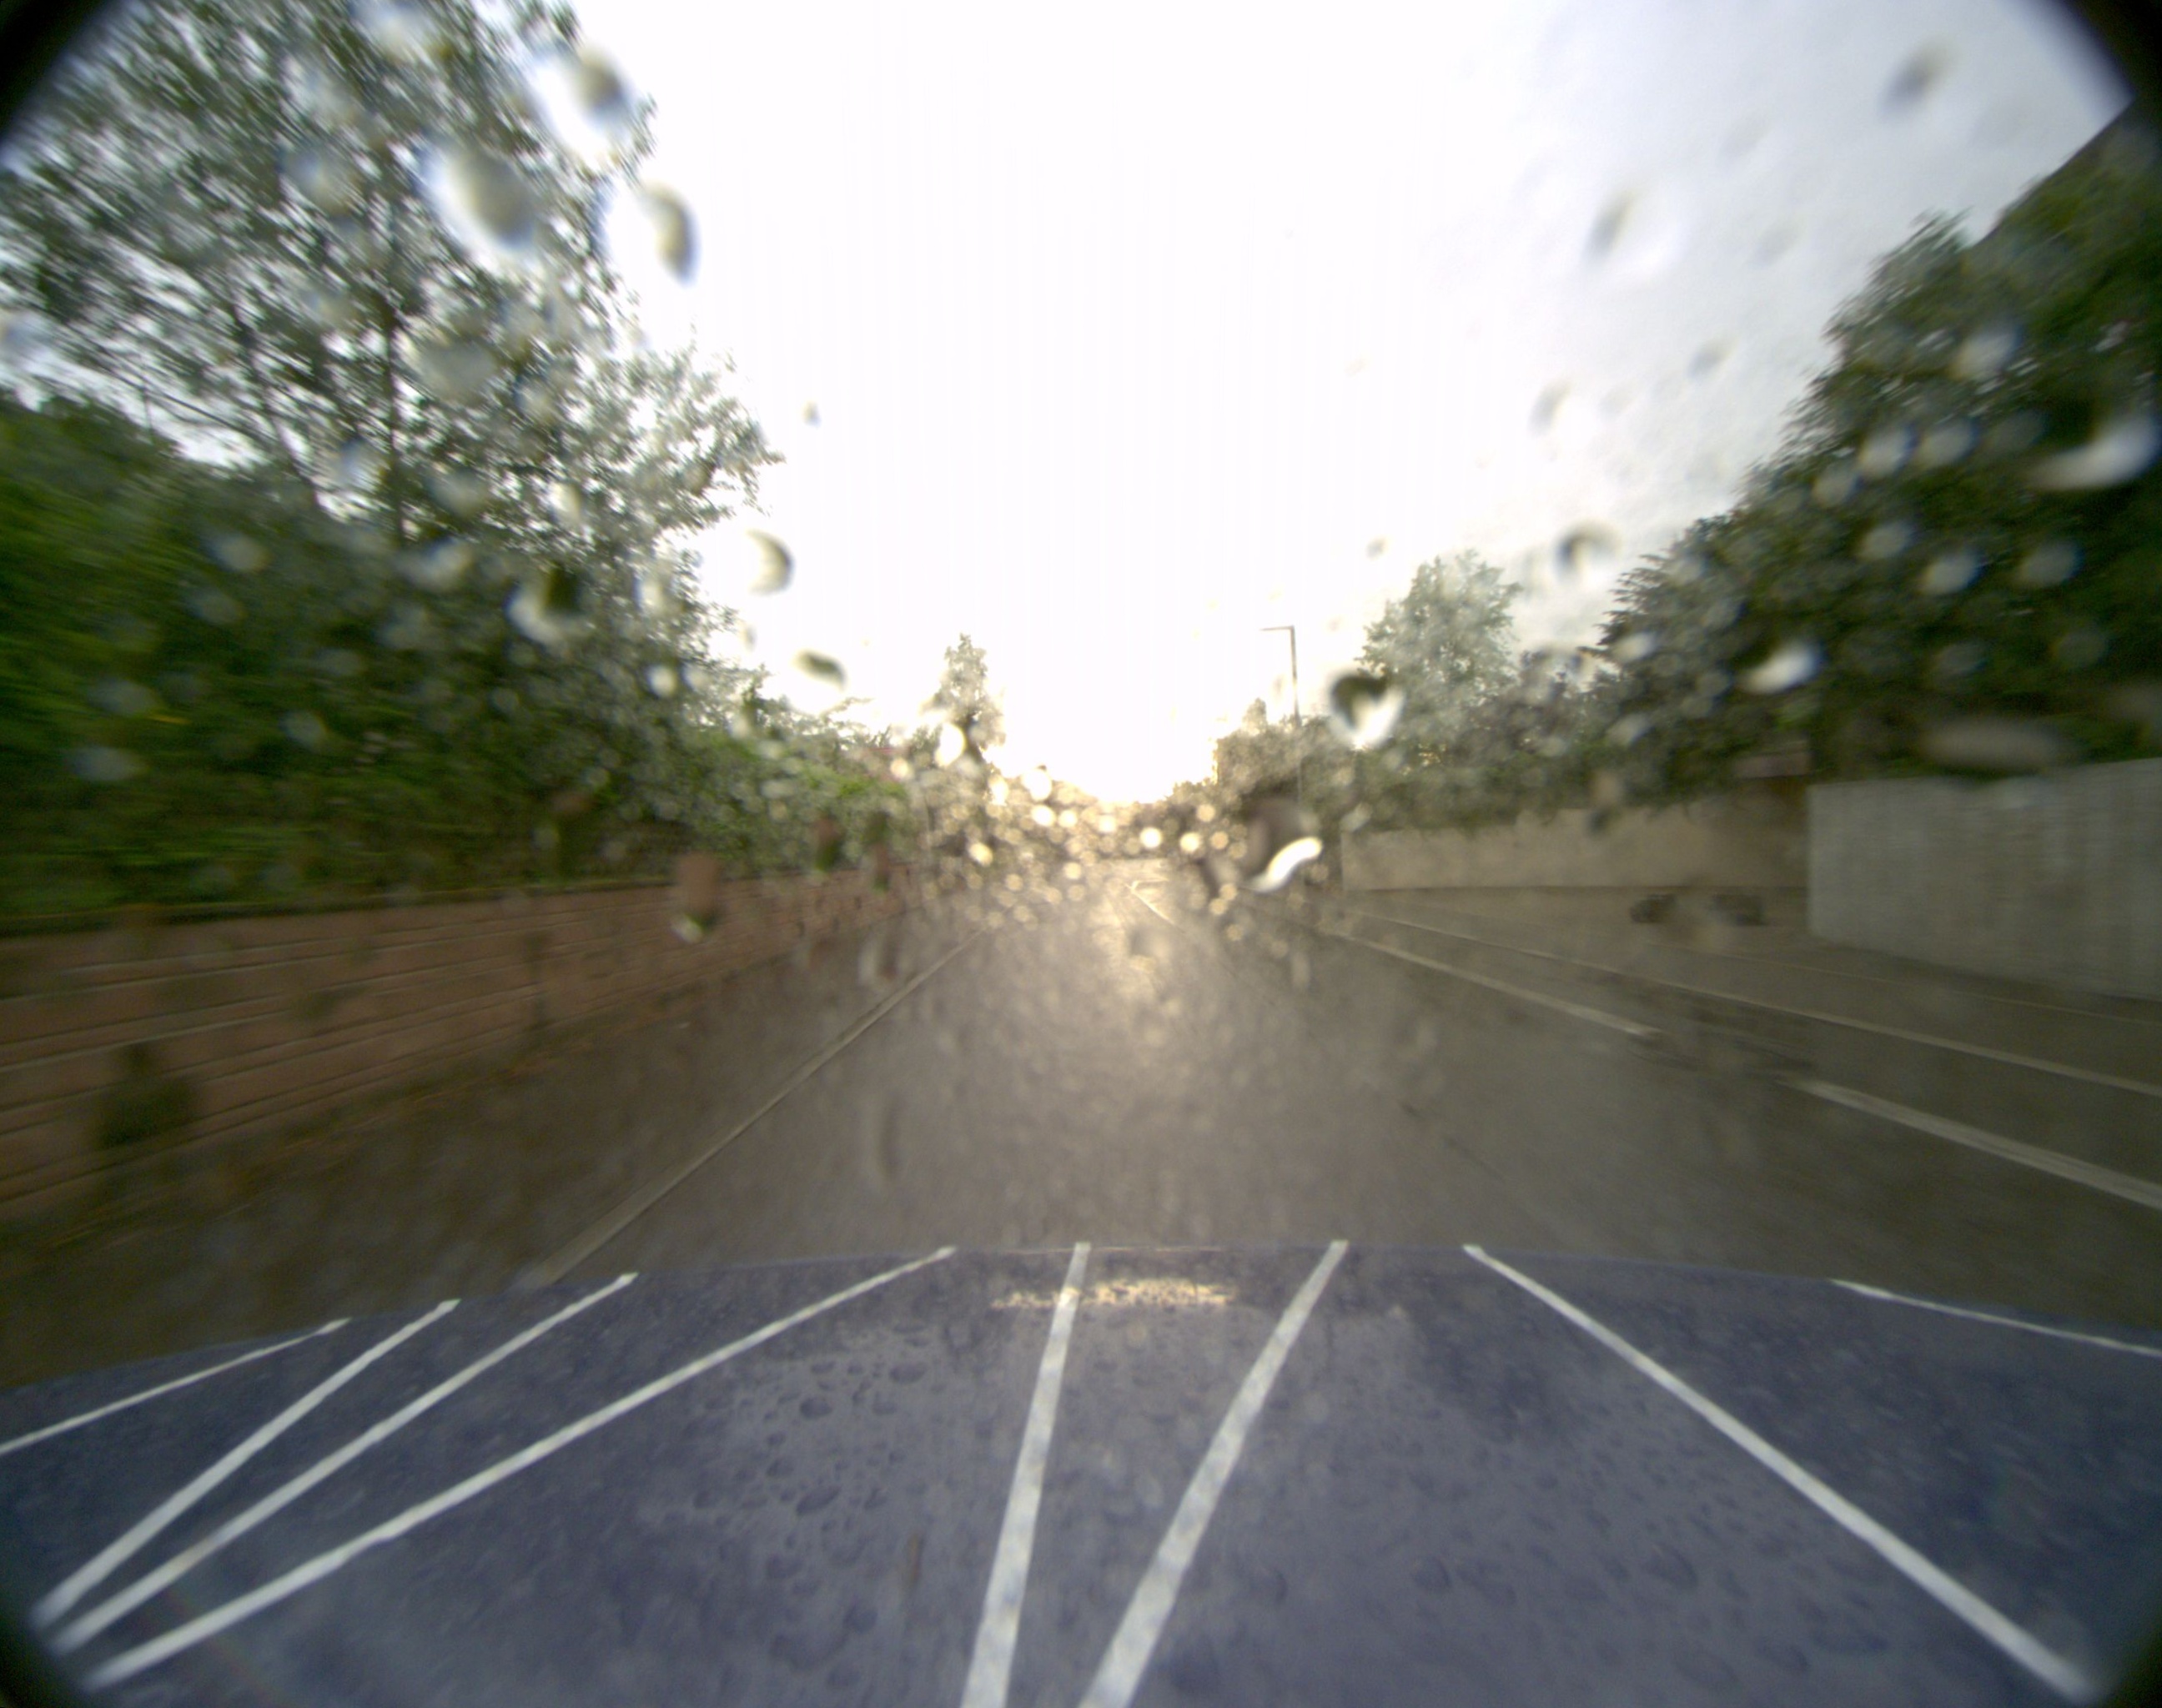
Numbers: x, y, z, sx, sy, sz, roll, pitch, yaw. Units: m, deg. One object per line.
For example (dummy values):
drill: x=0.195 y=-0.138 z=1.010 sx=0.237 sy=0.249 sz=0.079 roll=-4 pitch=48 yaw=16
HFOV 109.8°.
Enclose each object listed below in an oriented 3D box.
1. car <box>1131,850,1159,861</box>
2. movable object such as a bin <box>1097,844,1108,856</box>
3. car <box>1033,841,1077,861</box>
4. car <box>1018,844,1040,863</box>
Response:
car: x=10.529 y=0.305 z=124.911 sx=4.533 sy=1.650 sz=1.858 roll=-1 pitch=-1 yaw=11
movable object such as a bin: x=2.795 y=-0.495 z=98.362 sx=1.245 sy=1.488 sz=0.982 roll=-1 pitch=-1 yaw=-17
car: x=-2.848 y=-0.338 z=82.780 sx=4.335 sy=1.706 sz=1.731 roll=-5 pitch=0 yaw=29
car: x=-4.436 y=-0.067 z=65.306 sx=1.535 sy=1.526 sz=3.845 roll=0 pitch=1 yaw=2
